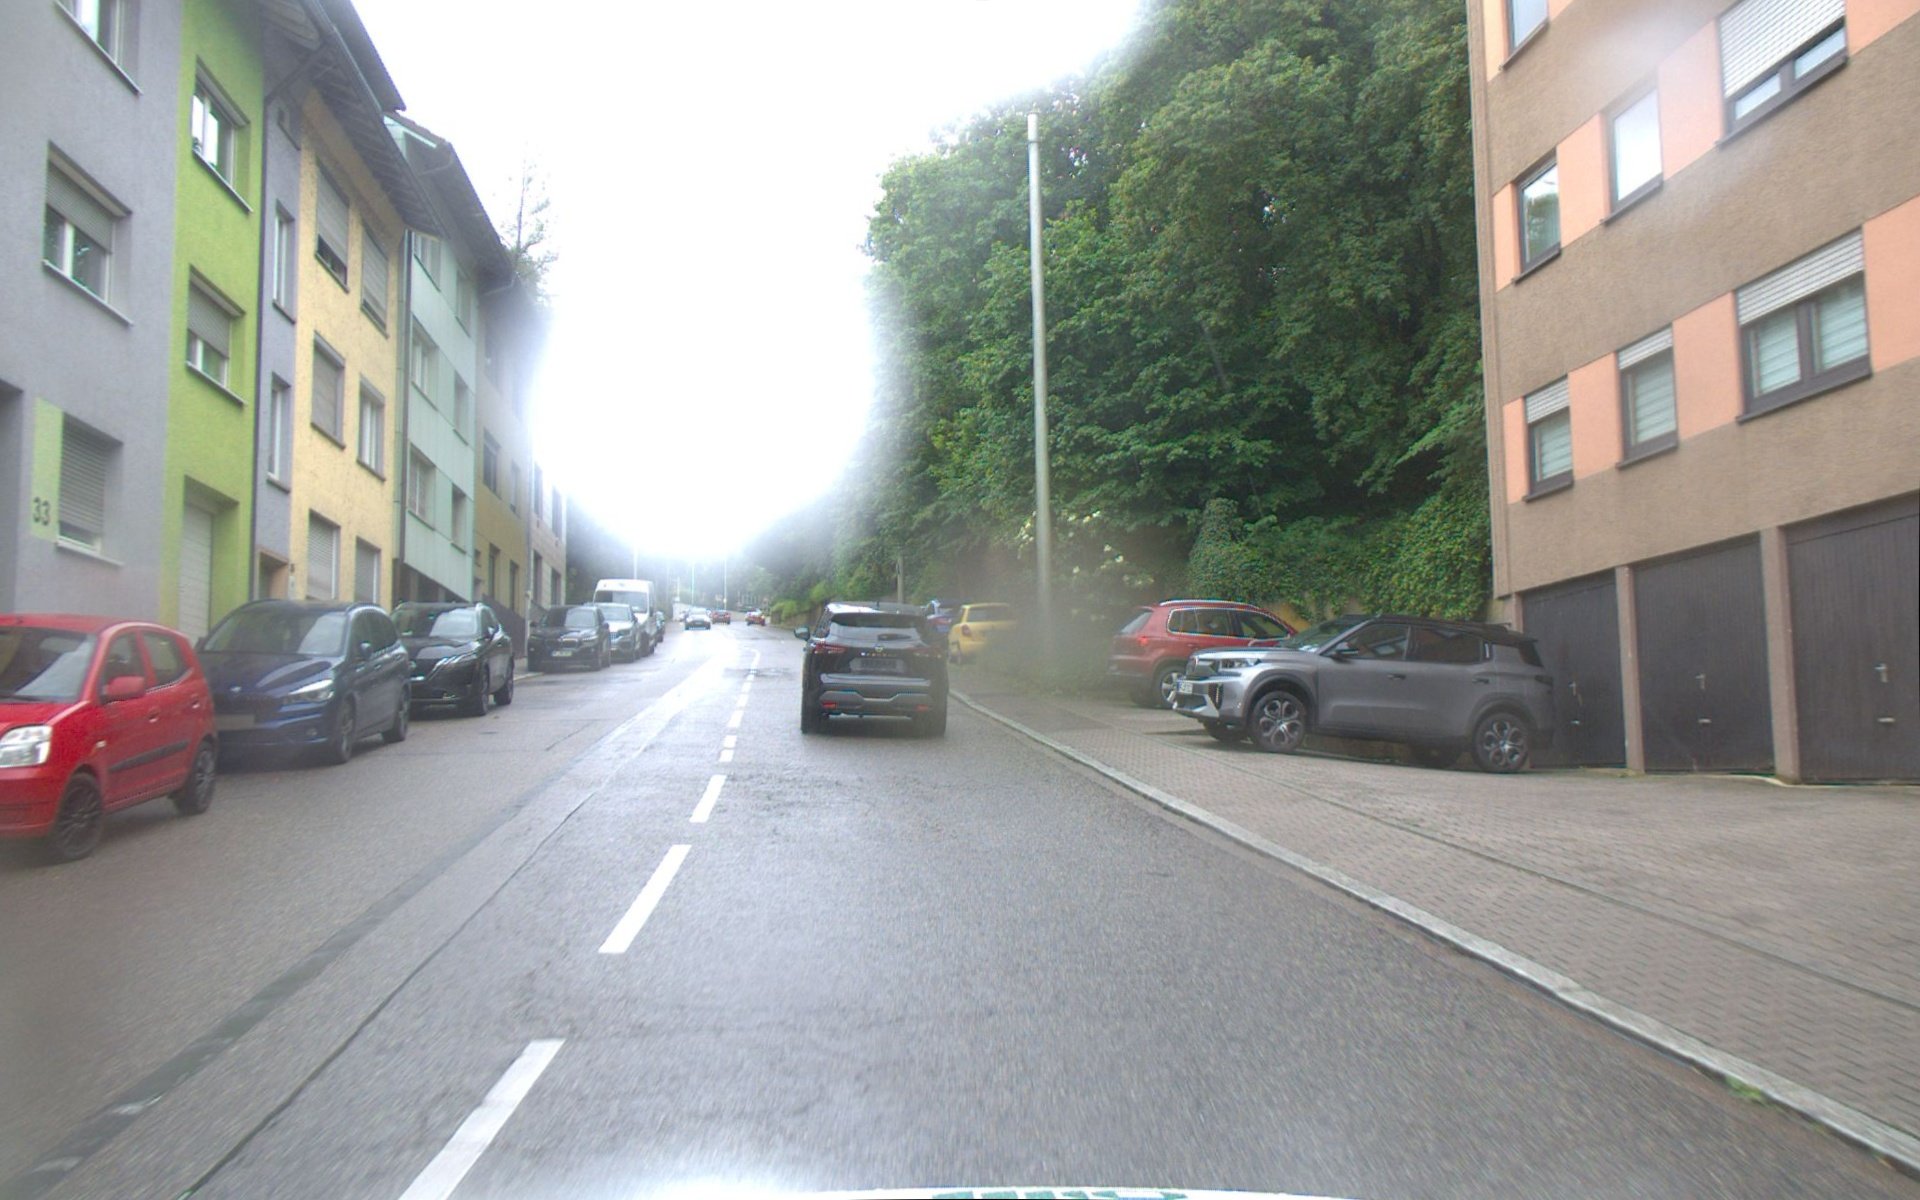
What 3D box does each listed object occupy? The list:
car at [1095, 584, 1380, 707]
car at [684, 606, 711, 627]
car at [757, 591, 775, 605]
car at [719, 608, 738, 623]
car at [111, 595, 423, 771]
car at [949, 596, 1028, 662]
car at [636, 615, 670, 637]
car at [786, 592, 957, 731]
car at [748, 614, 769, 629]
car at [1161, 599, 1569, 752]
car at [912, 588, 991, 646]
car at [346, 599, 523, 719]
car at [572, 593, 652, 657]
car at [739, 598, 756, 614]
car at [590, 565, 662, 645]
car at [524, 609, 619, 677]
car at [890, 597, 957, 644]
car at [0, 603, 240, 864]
[{"bbox_3d":[4.414,0.720,26.524,4.122,1.765,1.755,2,-1,-11],"label":"car"},{"bbox_3d":[-20.529,1.274,129.461,1.956,1.587,3.993,1,0,-8],"label":"car"},{"bbox_3d":[-23.384,-0.250,199.811,1.954,1.587,3.996,-1,-2,-5],"label":"car"},{"bbox_3d":[-24.926,1.695,177.893,2.036,1.587,3.993,0,0,-8],"label":"car"},{"bbox_3d":[-7.206,0.763,17.726,1.956,1.613,4.464,-1,0,-8],"label":"car"},{"bbox_3d":[0.673,0.696,41.696,1.601,1.557,3.996,1,0,-4],"label":"car"},{"bbox_3d":[-20.561,1.719,110.893,1.953,1.408,4.450,-1,0,-8],"label":"car"},{"bbox_3d":[-1.248,0.720,21.492,1.955,1.587,3.994,1,0,-7],"label":"car"},{"bbox_3d":[-21.318,2.243,174.679,2.037,1.587,3.991,0,0,-10],"label":"car"},{"bbox_3d":[4.526,0.836,18.769,4.120,1.522,1.756,2,-1,-9],"label":"car"},{"bbox_3d":[-0.296,0.493,48.609,1.777,1.556,4.410,-2,0,-7],"label":"car"},{"bbox_3d":[-7.857,0.813,25.101,1.818,1.613,4.297,-1,0,-8],"label":"car"},{"bbox_3d":[-10.259,0.691,49.011,1.953,1.786,4.472,-1,0,-8],"label":"car"},{"bbox_3d":[-29.069,0.795,226.089,1.954,2.049,3.996,1,-2,-4],"label":"car"},{"bbox_3d":[-11.170,0.151,55.602,1.953,2.518,5.774,-1,0,-8],"label":"car"},{"bbox_3d":[-9.982,1.066,42.746,1.953,1.613,4.297,-1,0,-8],"label":"car"},{"bbox_3d":[-1.339,0.706,59.343,1.777,1.556,4.408,-2,0,-9],"label":"car"},{"bbox_3d":[-6.350,0.792,11.314,1.696,1.498,3.485,-1,0,-8],"label":"car"}]
